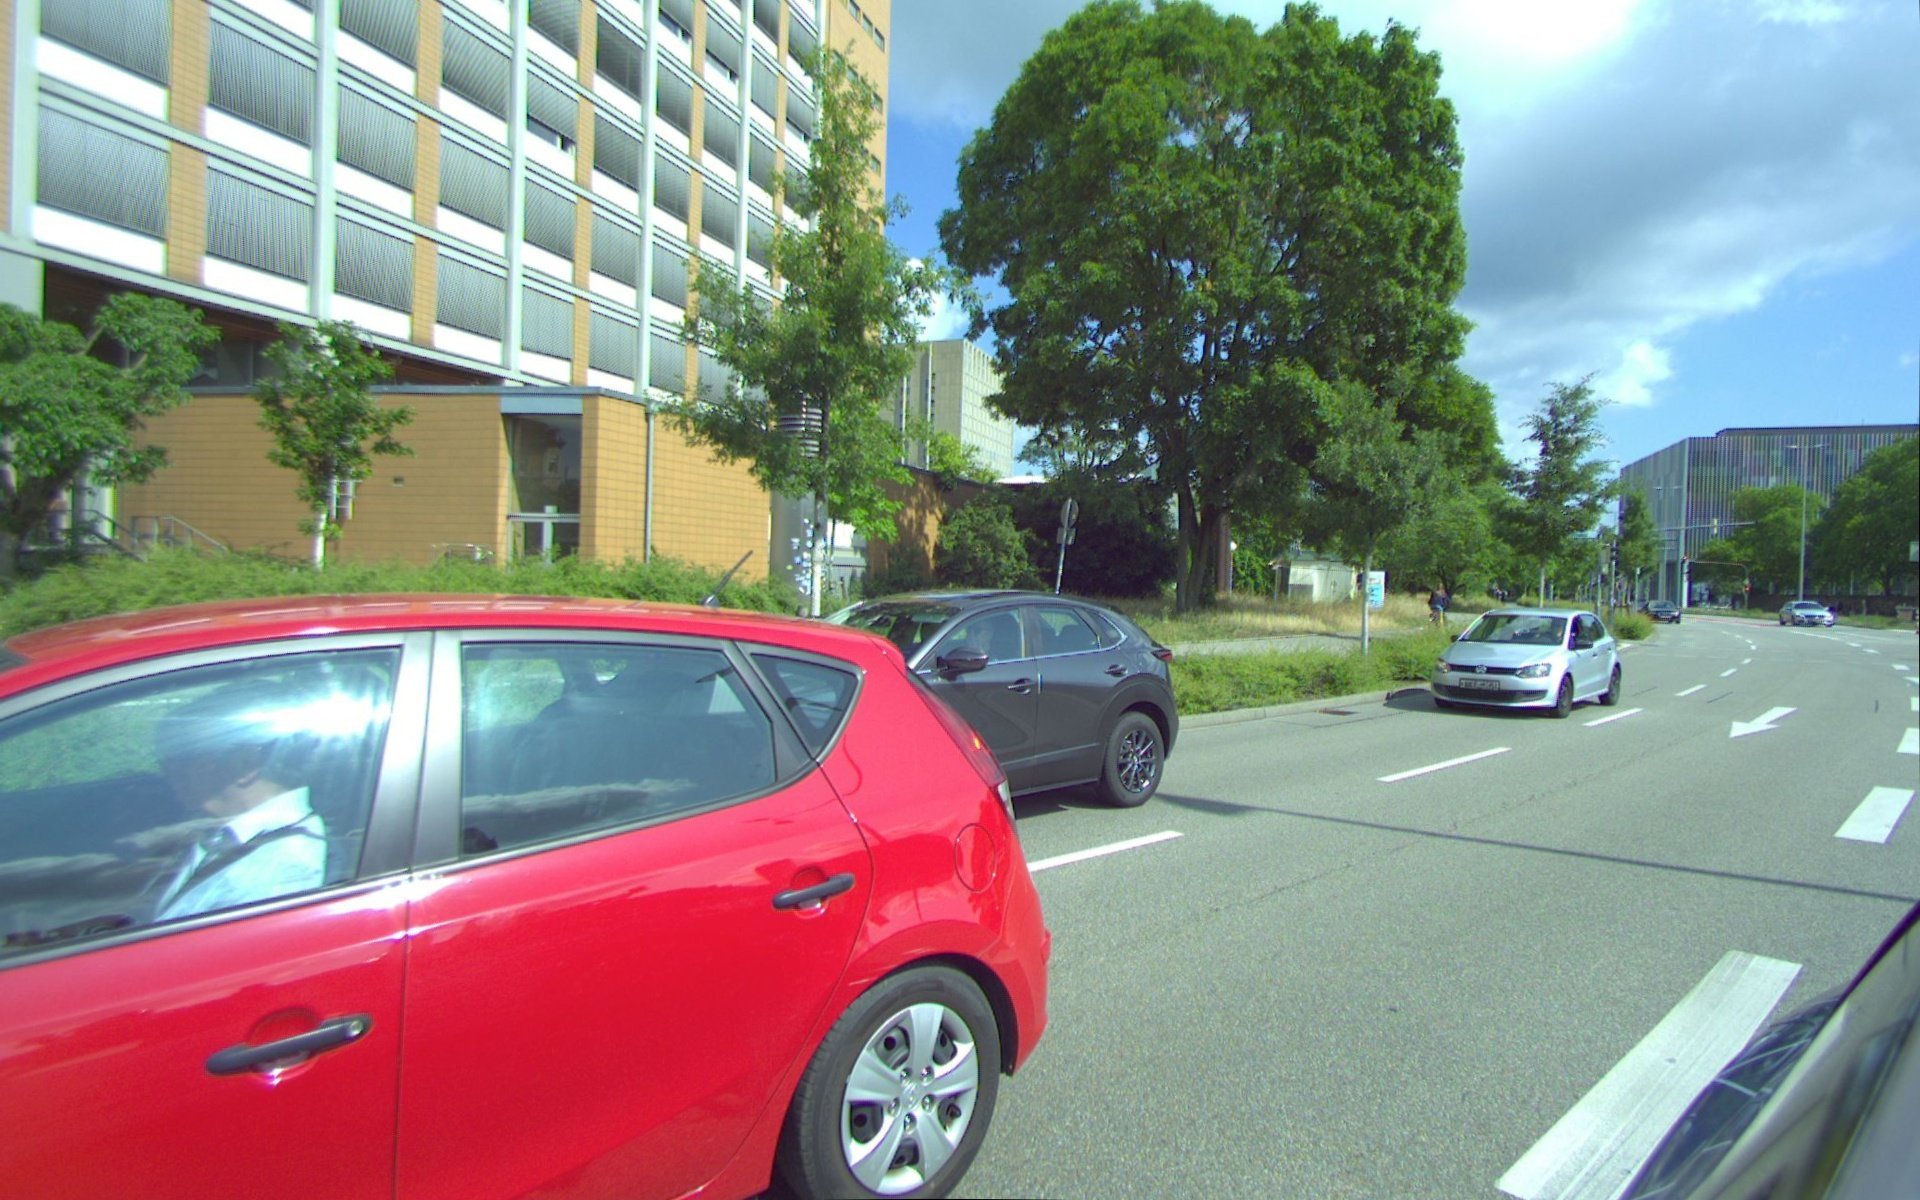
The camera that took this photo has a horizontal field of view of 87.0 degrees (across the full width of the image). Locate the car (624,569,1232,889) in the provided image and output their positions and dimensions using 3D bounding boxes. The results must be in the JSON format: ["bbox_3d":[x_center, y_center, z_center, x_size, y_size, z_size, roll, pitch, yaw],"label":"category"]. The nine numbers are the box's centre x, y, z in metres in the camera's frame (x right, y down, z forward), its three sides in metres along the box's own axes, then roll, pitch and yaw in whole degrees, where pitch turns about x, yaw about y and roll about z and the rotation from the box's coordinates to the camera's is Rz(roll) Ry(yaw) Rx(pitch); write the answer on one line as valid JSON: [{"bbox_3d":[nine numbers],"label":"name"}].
[{"bbox_3d":[-0.004,0.621,7.046,4.138,1.596,1.644,-1,0,-41],"label":"car"}]

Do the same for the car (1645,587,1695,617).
[{"bbox_3d":[44.154,0.099,63.011,1.980,1.777,3.963,0,0,27],"label":"car"}]

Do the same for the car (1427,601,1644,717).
[{"bbox_3d":[8.395,0.741,14.609,4.009,1.402,1.585,-1,0,-43],"label":"car"}]

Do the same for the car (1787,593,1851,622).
[{"bbox_3d":[50.339,0.391,59.376,1.812,1.544,3.966,2,1,25],"label":"car"}]

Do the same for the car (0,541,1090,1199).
[{"bbox_3d":[-1.684,0.662,2.033,3.994,1.486,1.644,-1,0,-41],"label":"car"}]
